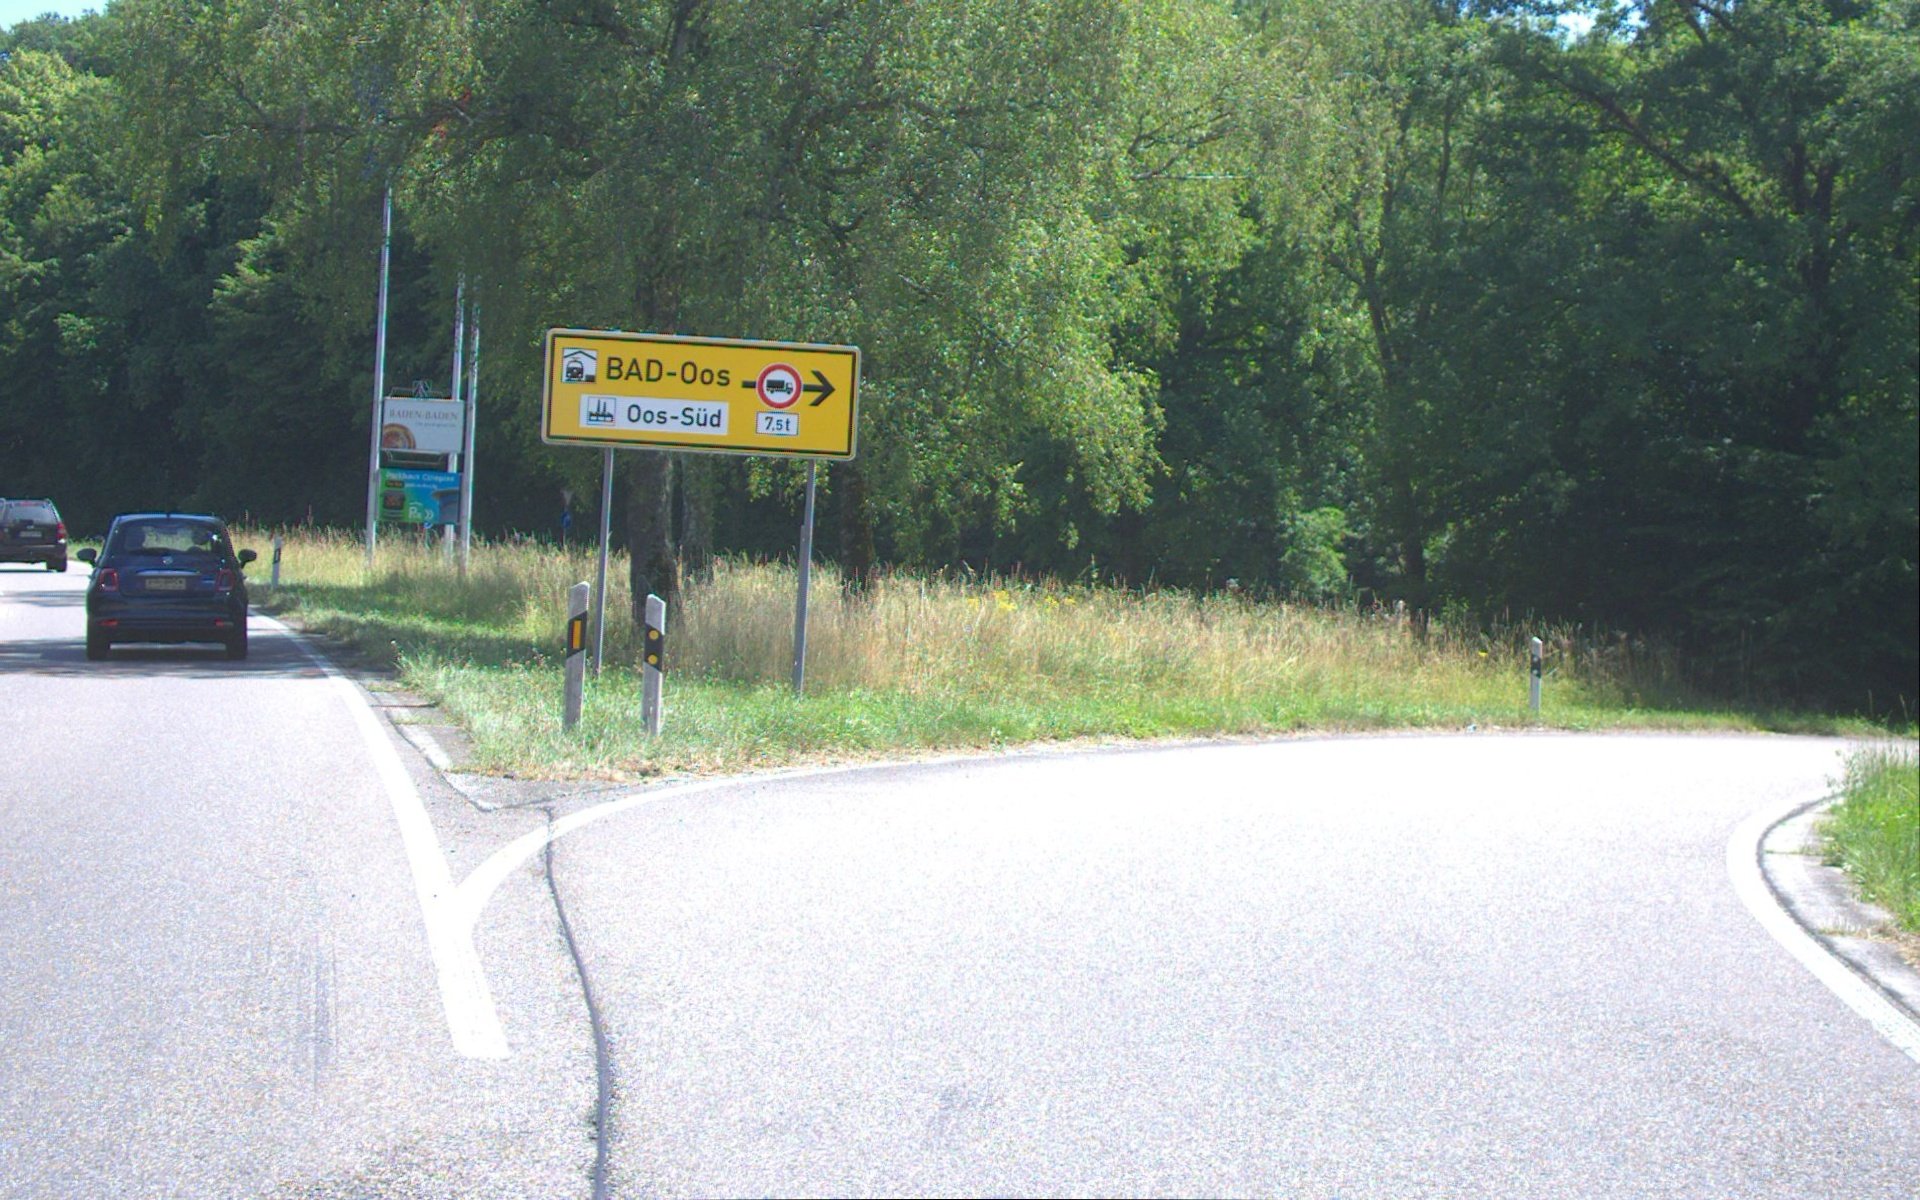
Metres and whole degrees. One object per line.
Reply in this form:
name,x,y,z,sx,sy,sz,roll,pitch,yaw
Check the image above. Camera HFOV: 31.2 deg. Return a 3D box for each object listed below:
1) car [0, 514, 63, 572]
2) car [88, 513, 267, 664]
car,-21.887,-1.342,80.639,1.524,1.309,3.416,0,1,-17
car,-8.160,-0.147,36.072,1.513,1.495,3.591,0,1,-8
